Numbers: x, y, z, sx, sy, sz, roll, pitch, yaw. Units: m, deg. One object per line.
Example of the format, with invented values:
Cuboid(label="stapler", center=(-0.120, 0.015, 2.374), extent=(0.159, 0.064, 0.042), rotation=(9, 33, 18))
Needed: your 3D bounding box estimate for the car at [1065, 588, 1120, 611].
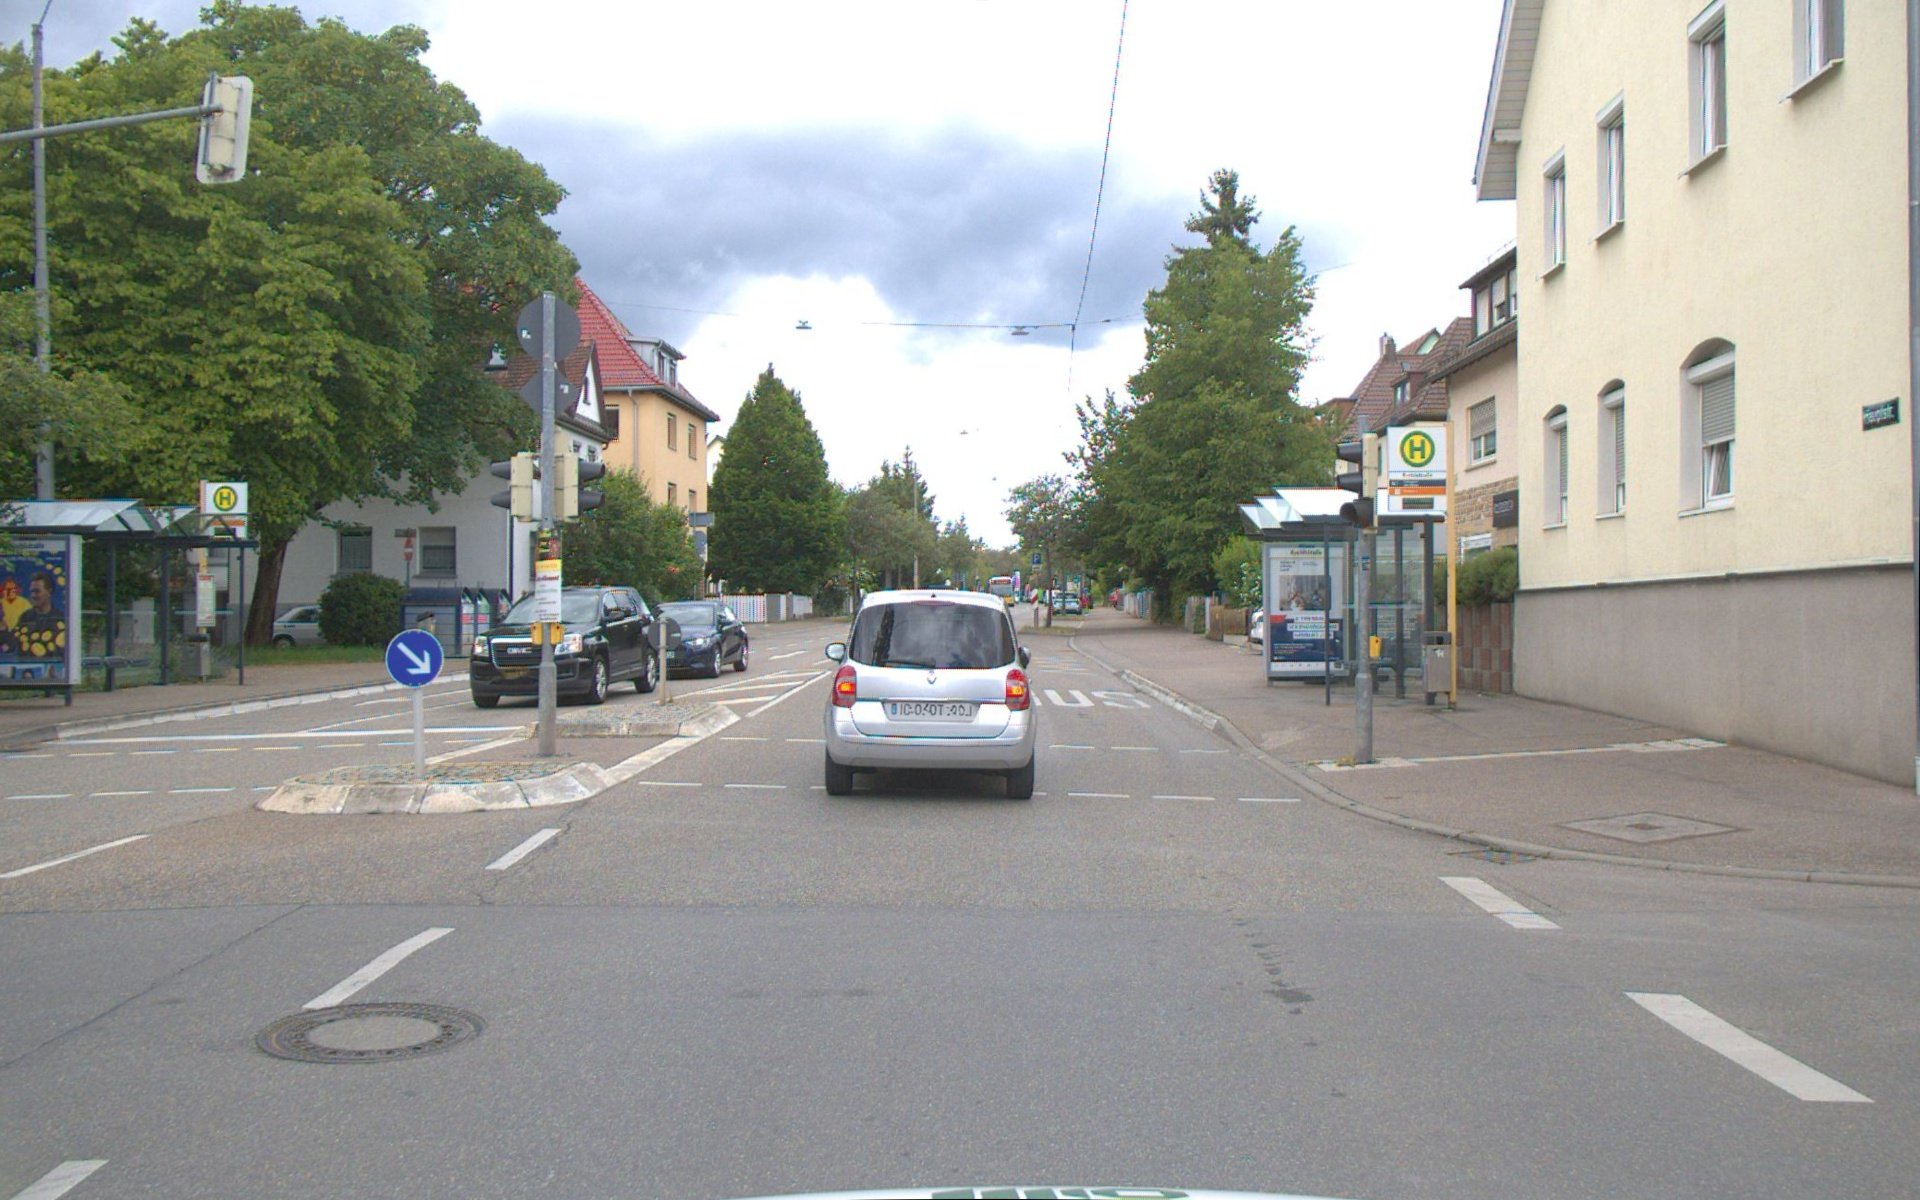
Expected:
Cuboid(label="car", center=(10.270, -0.022, 128.416), extent=(3.909, 1.522, 1.809), rotation=(-3, 0, -4))

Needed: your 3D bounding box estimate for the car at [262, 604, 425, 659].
Cuboid(label="car", center=(-17.409, 0.897, 46.830), extent=(3.904, 1.355, 1.722), rotation=(-2, -1, 2))

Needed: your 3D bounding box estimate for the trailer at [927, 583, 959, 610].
Cuboid(label="trailer", center=(-1.368, -0.275, 136.506), extent=(2.264, 2.123, 5.874), rotation=(1, -1, 3))

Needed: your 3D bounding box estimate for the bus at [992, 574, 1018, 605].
Cuboid(label="bus", center=(4.892, -1.084, 177.980), extent=(2.577, 3.140, 12.074), rotation=(-2, 0, 3))

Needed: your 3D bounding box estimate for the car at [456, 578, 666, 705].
Cuboid(label="car", center=(-5.840, 0.603, 24.792), extent=(1.721, 1.663, 4.597), rotation=(-2, -1, 4))

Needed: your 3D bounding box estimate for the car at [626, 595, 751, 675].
Cuboid(label="car", center=(-5.209, 0.672, 32.211), extent=(1.531, 1.445, 4.132), rotation=(-1, -1, 3))

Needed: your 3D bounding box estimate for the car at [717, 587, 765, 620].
Cuboid(label="car", center=(-11.291, 0.142, 85.461), extent=(1.769, 1.591, 4.619), rotation=(-2, 1, 1))

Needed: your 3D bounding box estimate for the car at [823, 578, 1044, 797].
Cuboid(label="car", center=(-0.282, 0.669, 14.164), extent=(1.597, 1.584, 3.997), rotation=(1, -1, -3))

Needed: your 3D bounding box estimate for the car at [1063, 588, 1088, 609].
Cuboid(label="car", center=(8.088, -0.108, 115.527), extent=(1.627, 1.417, 3.670), rotation=(0, 0, 7))

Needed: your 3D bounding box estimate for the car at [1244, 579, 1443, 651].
Cuboid(label="car", center=(9.095, 0.360, 39.470), extent=(4.328, 1.514, 1.866), rotation=(-2, -1, 3))

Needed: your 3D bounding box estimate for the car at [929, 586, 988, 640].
Cuboid(label="car", center=(-0.087, 0.426, 54.329), extent=(1.792, 1.705, 3.573), rotation=(0, 0, -2))

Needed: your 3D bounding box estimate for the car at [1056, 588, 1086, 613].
Cuboid(label="car", center=(6.482, 0.038, 96.340), extent=(1.615, 1.406, 4.002), rotation=(0, -1, 5))
